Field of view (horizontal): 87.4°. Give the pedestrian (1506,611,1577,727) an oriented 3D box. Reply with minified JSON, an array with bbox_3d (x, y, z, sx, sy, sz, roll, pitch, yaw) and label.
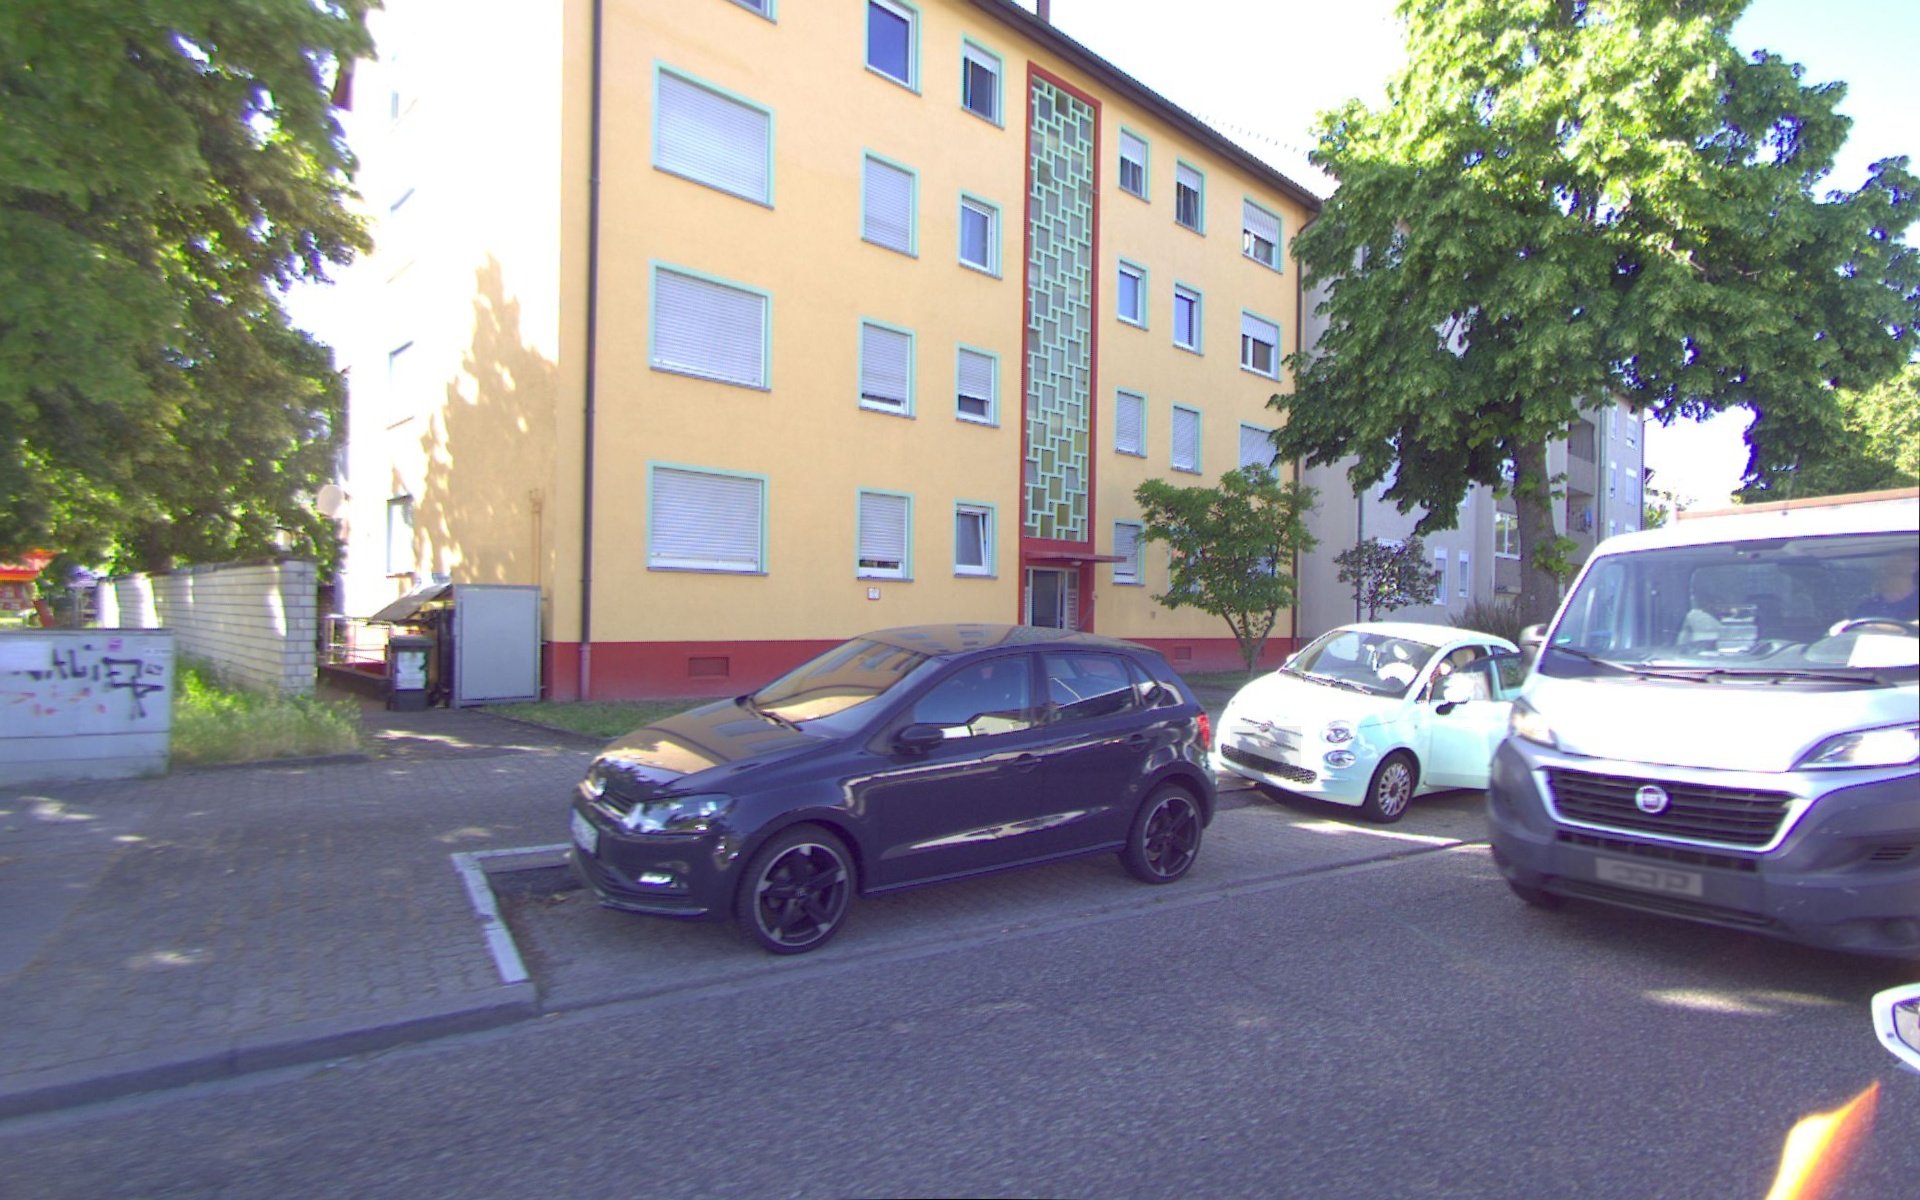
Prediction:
[{"bbox_3d":[8.992,1.058,15.535,0.713,1.740,0.681,3,-2,-33],"label":"pedestrian"}]

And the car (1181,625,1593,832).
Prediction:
[{"bbox_3d":[4.082,1.066,9.370,4.012,1.543,1.690,3,-3,-35],"label":"car"}]

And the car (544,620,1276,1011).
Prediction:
[{"bbox_3d":[-0.117,0.978,5.943,4.014,1.500,1.689,3,0,-36],"label":"car"}]

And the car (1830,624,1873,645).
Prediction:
[{"bbox_3d":[75.792,2.922,85.452,1.977,1.747,4.285,0,-1,31],"label":"car"}]

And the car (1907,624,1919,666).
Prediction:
[{"bbox_3d":[36.811,1.709,37.603,1.669,1.511,4.270,2,0,40],"label":"car"}]

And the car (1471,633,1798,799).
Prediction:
[{"bbox_3d":[7.896,1.207,11.681,3.954,1.530,1.649,0,1,-31],"label":"car"}]

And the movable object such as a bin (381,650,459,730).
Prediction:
[{"bbox_3d":[-6.765,1.106,12.584,0.740,0.923,0.691,0,0,-40],"label":"movable object such as a bin"}]

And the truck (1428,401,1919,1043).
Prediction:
[{"bbox_3d":[5.742,0.531,6.211,6.372,2.365,2.118,1,-2,-33],"label":"truck"}]
